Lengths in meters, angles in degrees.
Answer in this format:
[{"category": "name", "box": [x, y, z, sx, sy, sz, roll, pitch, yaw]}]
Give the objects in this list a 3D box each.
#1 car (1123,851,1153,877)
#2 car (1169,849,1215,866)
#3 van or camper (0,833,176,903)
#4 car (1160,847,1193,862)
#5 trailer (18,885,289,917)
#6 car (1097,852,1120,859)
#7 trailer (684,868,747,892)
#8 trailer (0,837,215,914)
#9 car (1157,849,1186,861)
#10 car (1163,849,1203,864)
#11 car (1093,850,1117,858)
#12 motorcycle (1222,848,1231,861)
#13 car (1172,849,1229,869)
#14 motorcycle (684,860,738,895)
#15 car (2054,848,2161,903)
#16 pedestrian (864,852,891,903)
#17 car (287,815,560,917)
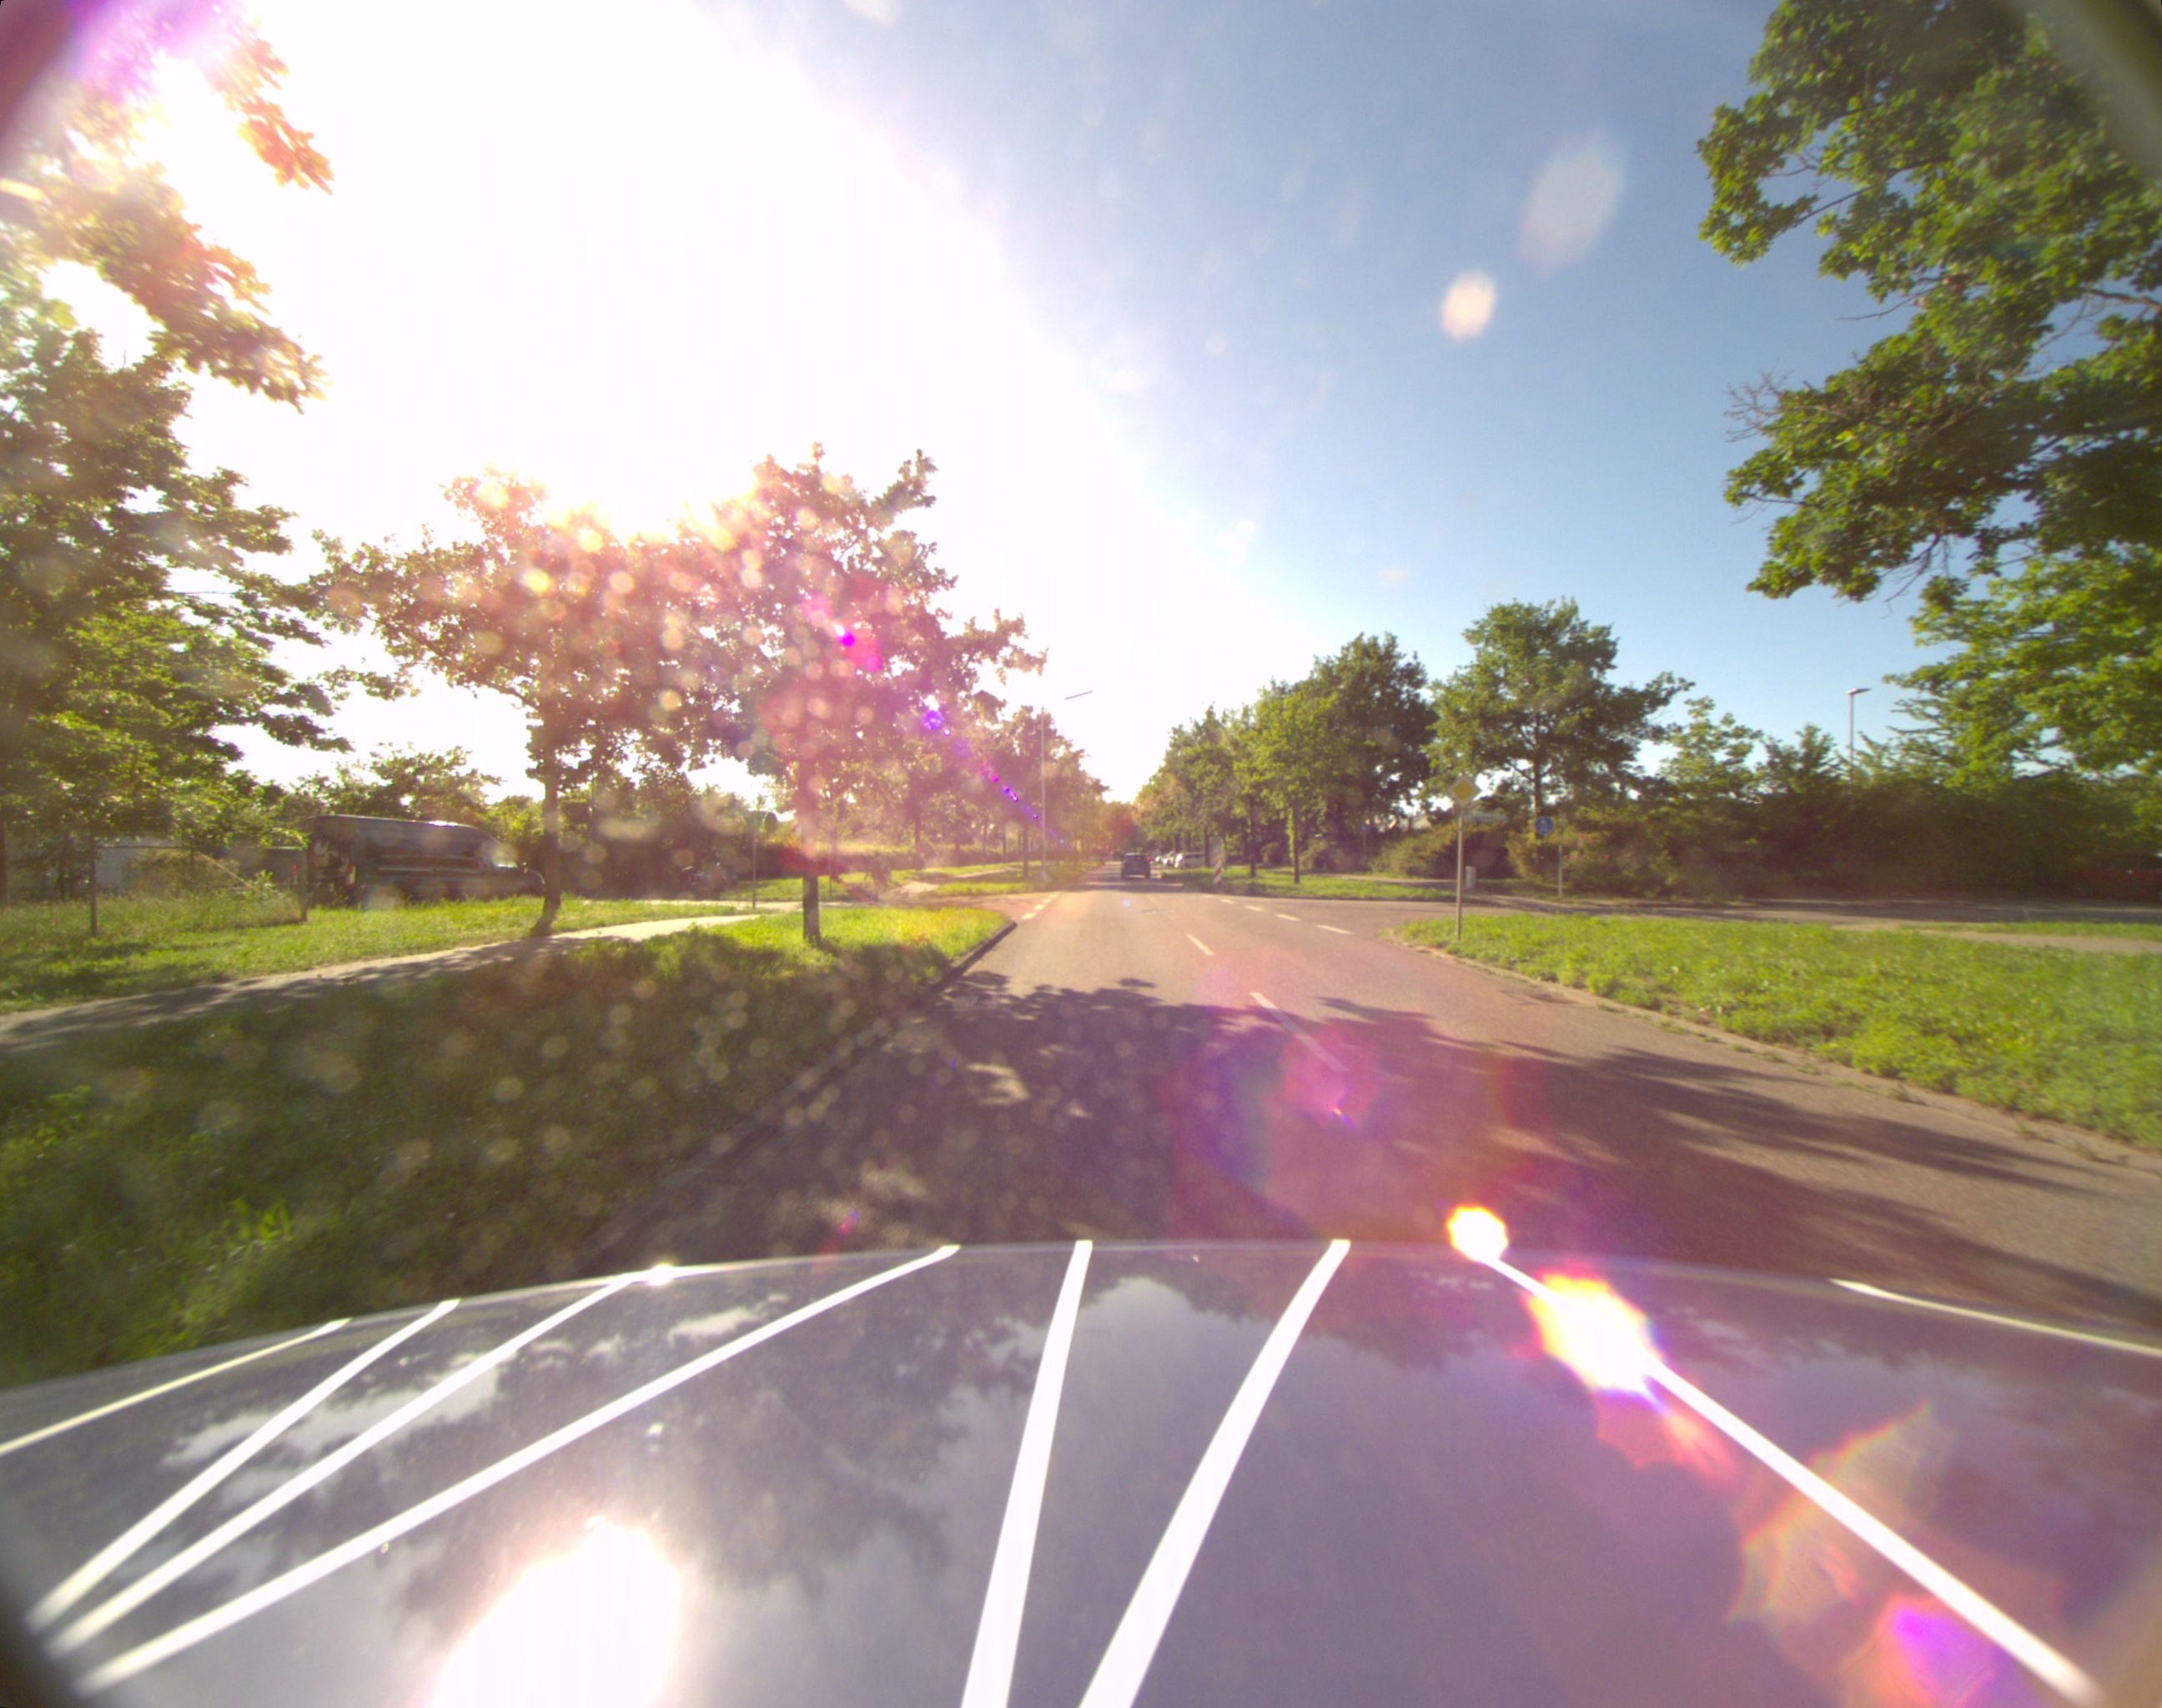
[{"category": "car", "box": [3.549, 0.589, 47.633, 1.808, 1.528, 4.497, 1, 0, 4]}, {"category": "car", "box": [11.346, 0.343, 77.863, 4.422, 1.502, 2.088, -2, 0, 3]}, {"category": "van or camper", "box": [-40.226, 0.498, 29.118, 2.184, 2.560, 6.784, 0, 0, 14]}, {"category": "car", "box": [12.984, 0.020, 103.389, 4.237, 1.872, 1.999, -2, 0, 3]}, {"category": "trailer", "box": [-28.449, 1.410, 23.620, 2.231, 0.647, 4.827, 0, 0, 14]}, {"category": "car", "box": [5.654, 0.306, 153.363, 4.510, 1.471, 1.942, 0, 0, 5]}, {"category": "trailer", "box": [-16.584, 1.178, 34.563, 1.581, 0.864, 2.055, 0, 4, 14]}, {"category": "trailer", "box": [-31.531, 0.622, 24.720, 2.192, 2.294, 3.793, 0, 1, 14]}, {"category": "car", "box": [12.970, 0.107, 108.792, 4.071, 1.633, 1.877, -2, 0, 6]}, {"category": "car", "box": [11.794, 0.265, 88.142, 4.422, 1.547, 2.089, -2, 0, 5]}, {"category": "car", "box": [4.595, -0.077, 144.747, 4.510, 1.471, 1.942, 0, 0, 5]}, {"category": "motorcycle", "box": [16.767, 0.055, 87.429, 0.739, 1.424, 1.991, -4, 0, 4]}, {"category": "car", "box": [10.539, 0.414, 67.191, 4.638, 1.549, 2.191, -2, 0, 0]}, {"category": "motorcycle", "box": [-15.829, 0.993, 32.592, 0.664, 1.225, 2.407, 0, 5, 13]}, {"category": "car", "box": [31.788, 0.605, 22.479, 1.802, 1.496, 3.554, 0, 2, 13]}, {"category": "pedestrian", "box": [-7.316, 0.837, 27.355, 0.727, 1.802, 0.867, 0, 1, 1]}, {"category": "car", "box": [-18.870, 0.434, 22.384, 2.087, 2.550, 5.980, -2, -3, 13]}]
